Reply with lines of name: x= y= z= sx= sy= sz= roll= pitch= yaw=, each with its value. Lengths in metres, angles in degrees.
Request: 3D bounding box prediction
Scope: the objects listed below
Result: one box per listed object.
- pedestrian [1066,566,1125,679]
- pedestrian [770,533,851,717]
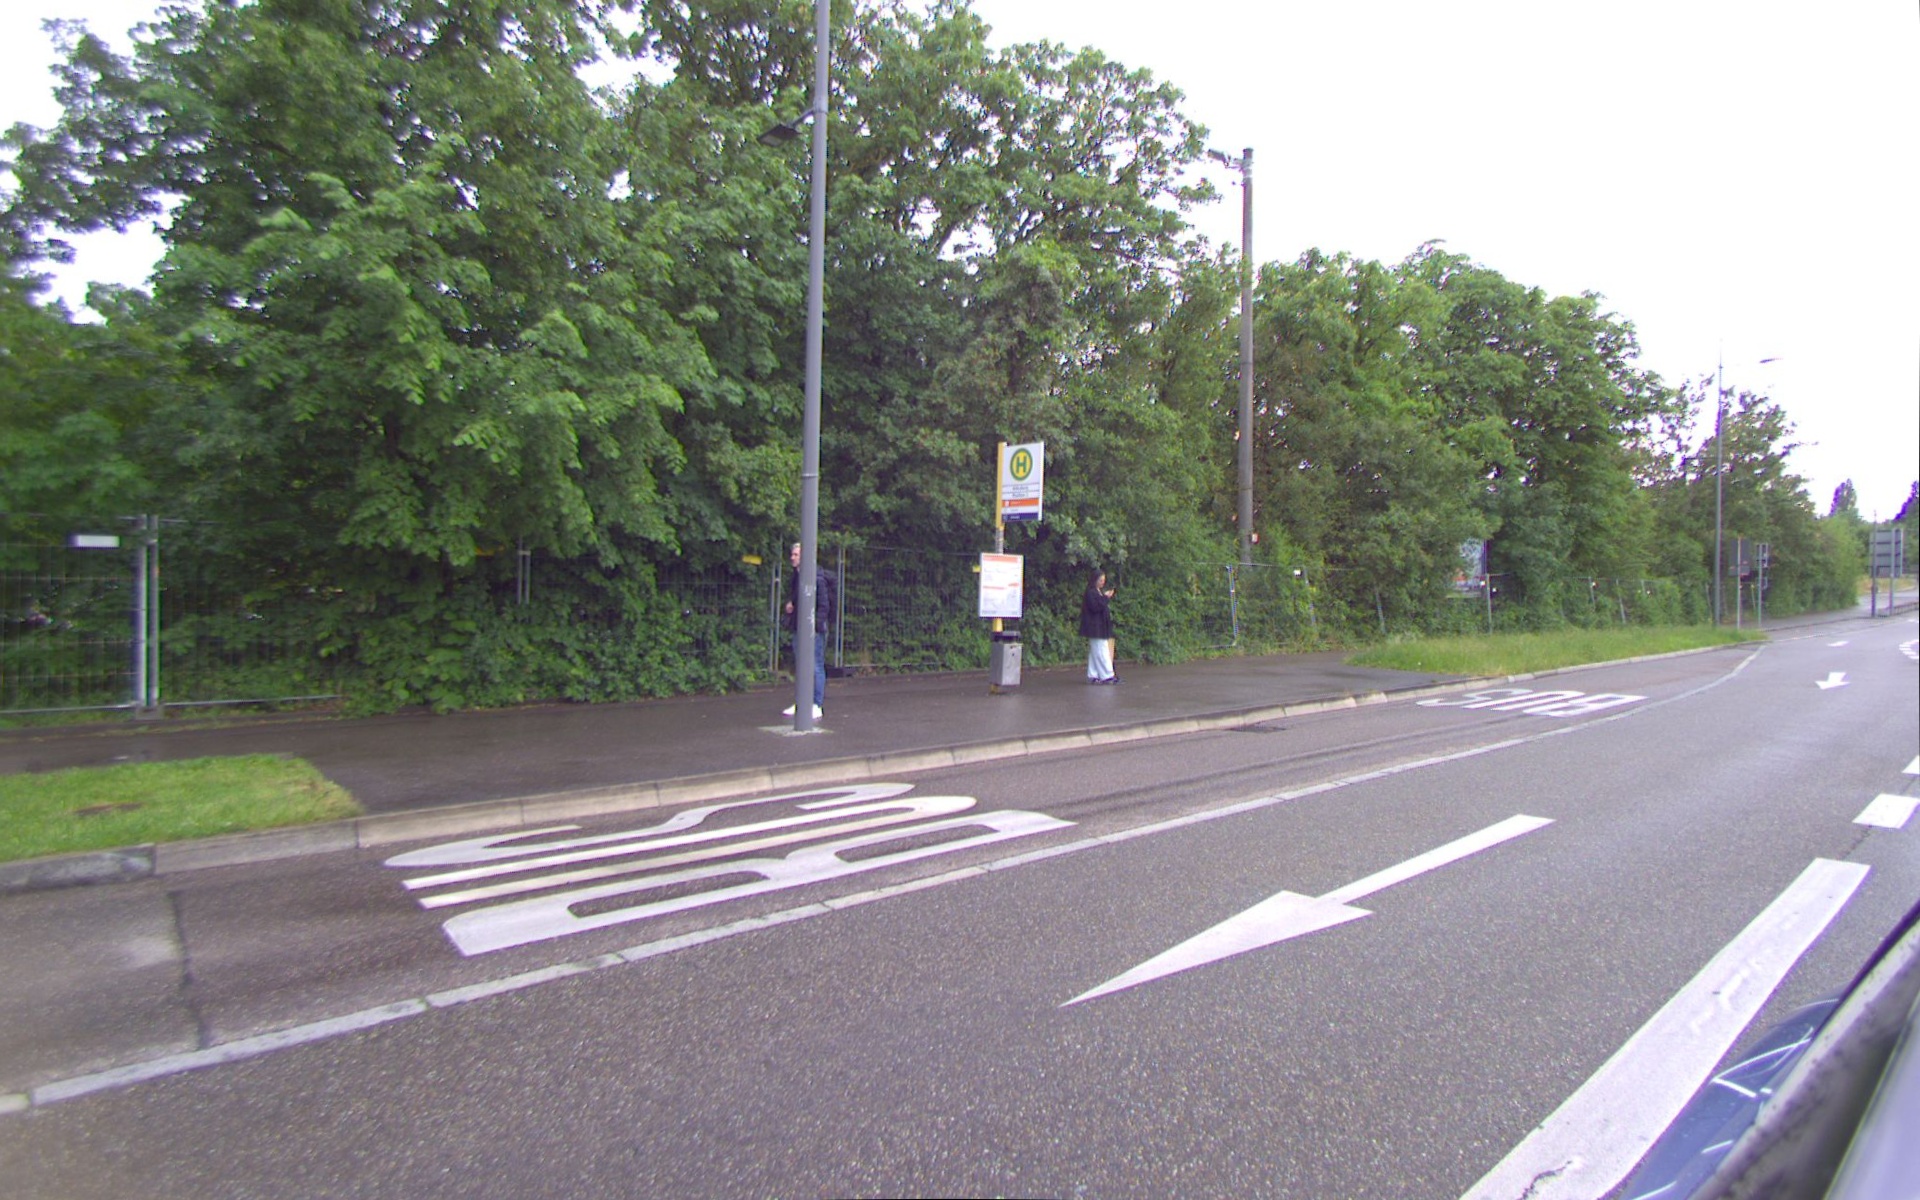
pedestrian: x=2.041 y=0.324 z=15.237 sx=0.650 sy=1.648 sz=0.588 roll=0 pitch=1 yaw=-40
pedestrian: x=-1.677 y=0.257 z=11.330 sx=0.587 sy=1.973 sz=0.742 roll=0 pitch=1 yaw=-40
